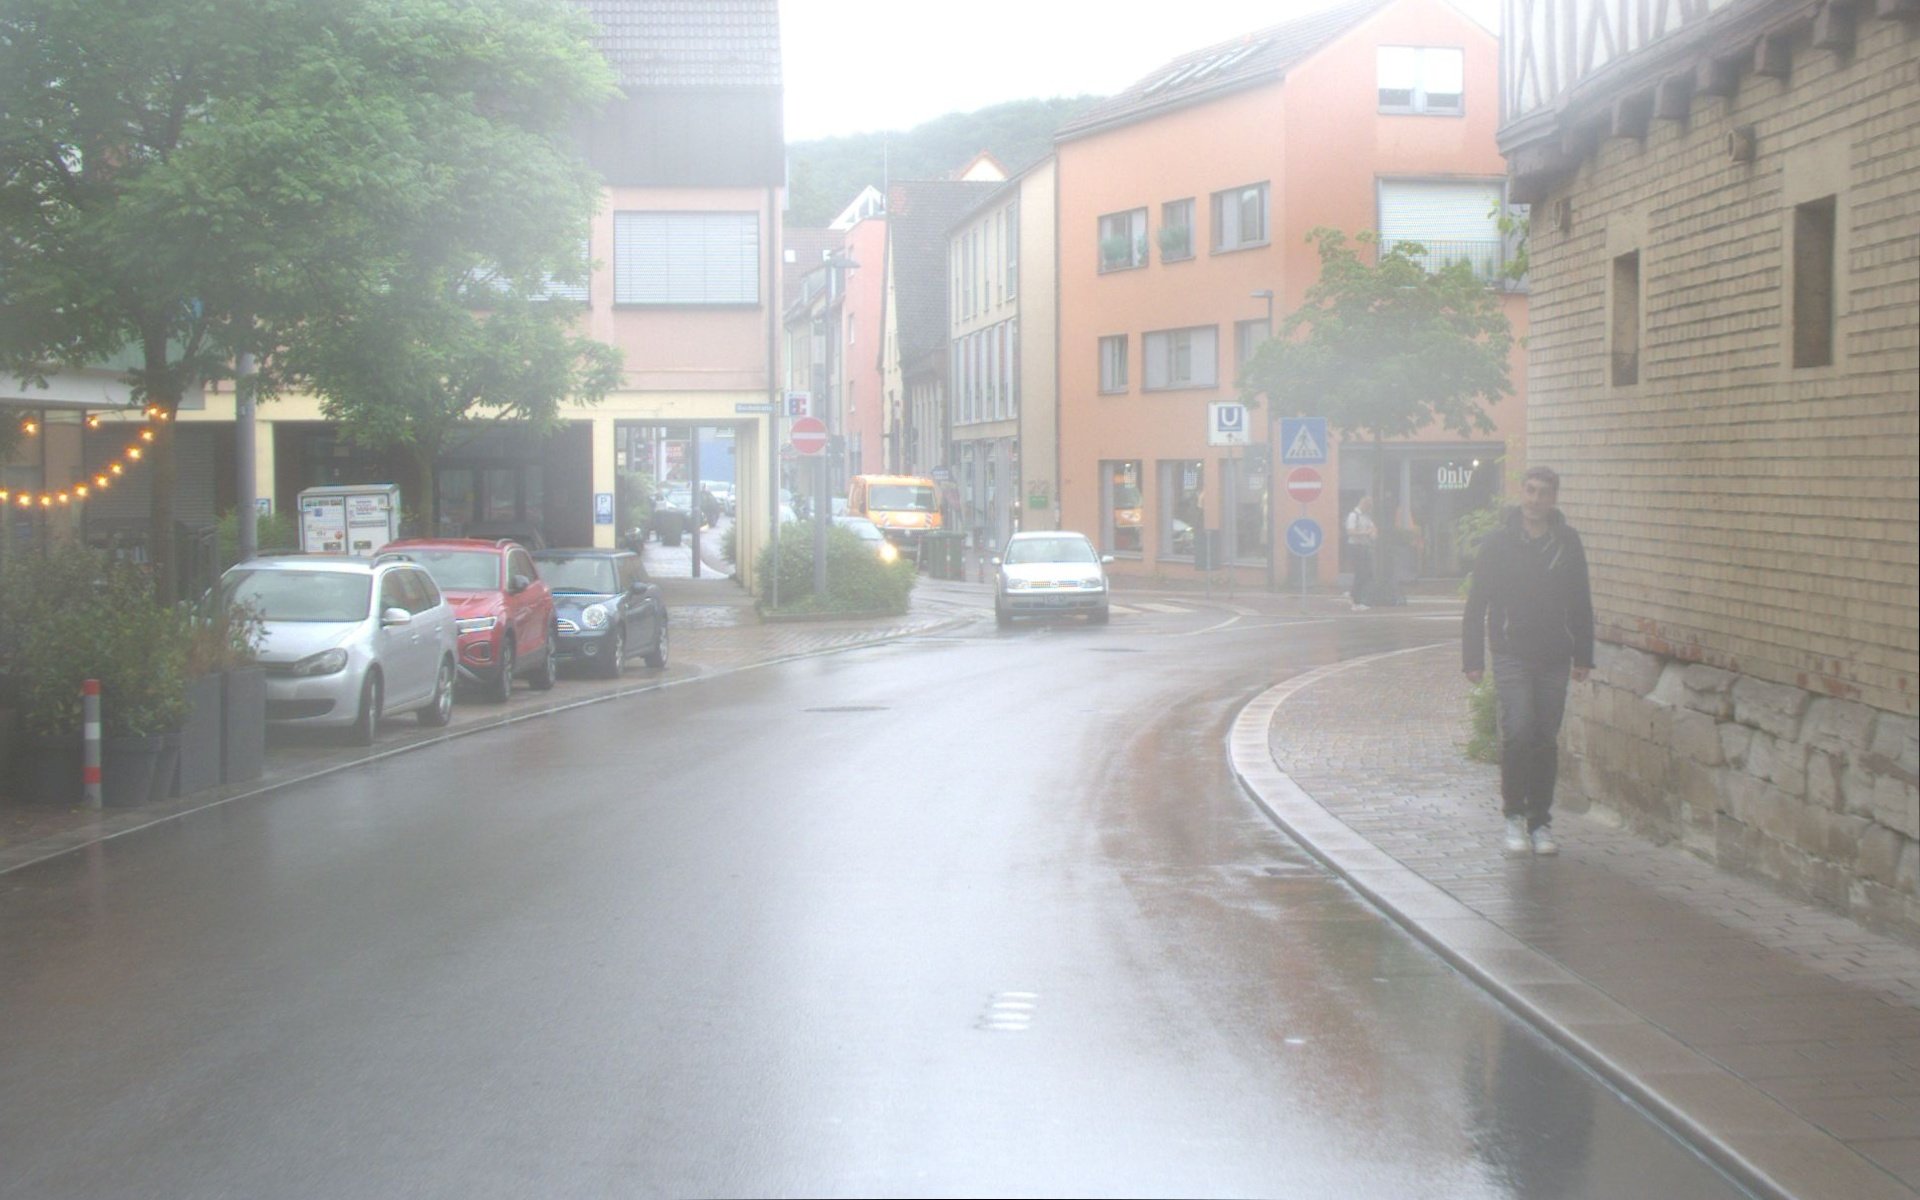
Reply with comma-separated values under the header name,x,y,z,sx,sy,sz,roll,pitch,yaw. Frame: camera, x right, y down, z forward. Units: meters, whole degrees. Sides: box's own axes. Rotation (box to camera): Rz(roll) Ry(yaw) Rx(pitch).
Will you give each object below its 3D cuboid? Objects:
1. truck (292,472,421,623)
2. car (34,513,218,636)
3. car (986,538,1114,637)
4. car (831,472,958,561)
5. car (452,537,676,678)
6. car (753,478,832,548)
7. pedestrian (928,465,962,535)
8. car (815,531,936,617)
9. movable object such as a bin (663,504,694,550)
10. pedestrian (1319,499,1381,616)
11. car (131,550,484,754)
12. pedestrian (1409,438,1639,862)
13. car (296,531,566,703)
name,x,y,z,sx,sy,sz,roll,pitch,yaw
truck,-9.541,-0.861,54.547,1.596,2.055,3.194,-2,6,-4
car,-12.881,-0.432,53.322,1.812,1.612,4.001,0,4,0
car,1.389,-0.228,54.382,1.790,1.412,4.029,-3,1,-1
car,-1.712,-2.135,88.076,2.103,2.139,4.869,-3,2,-14
car,-4.448,0.045,39.144,1.715,1.453,3.909,1,2,6
car,-5.463,-2.821,111.732,2.103,2.139,4.868,-3,2,-7
pedestrian,-0.435,-2.912,100.107,0.866,2.006,0.708,-1,2,-9
car,-1.560,-0.502,62.262,1.714,1.453,3.911,0,2,-9
movable object such as a bin,-8.651,-2.245,105.661,0.834,1.377,0.854,-1,2,-11
pedestrian,6.390,-0.702,56.361,0.862,1.908,0.757,0,2,19
car,-5.262,0.365,28.326,1.787,1.493,4.454,-1,1,3
pedestrian,2.597,0.214,15.915,0.810,1.878,0.908,-2,1,-3
car,-5.177,0.122,34.161,1.787,1.571,4.107,-1,1,3
